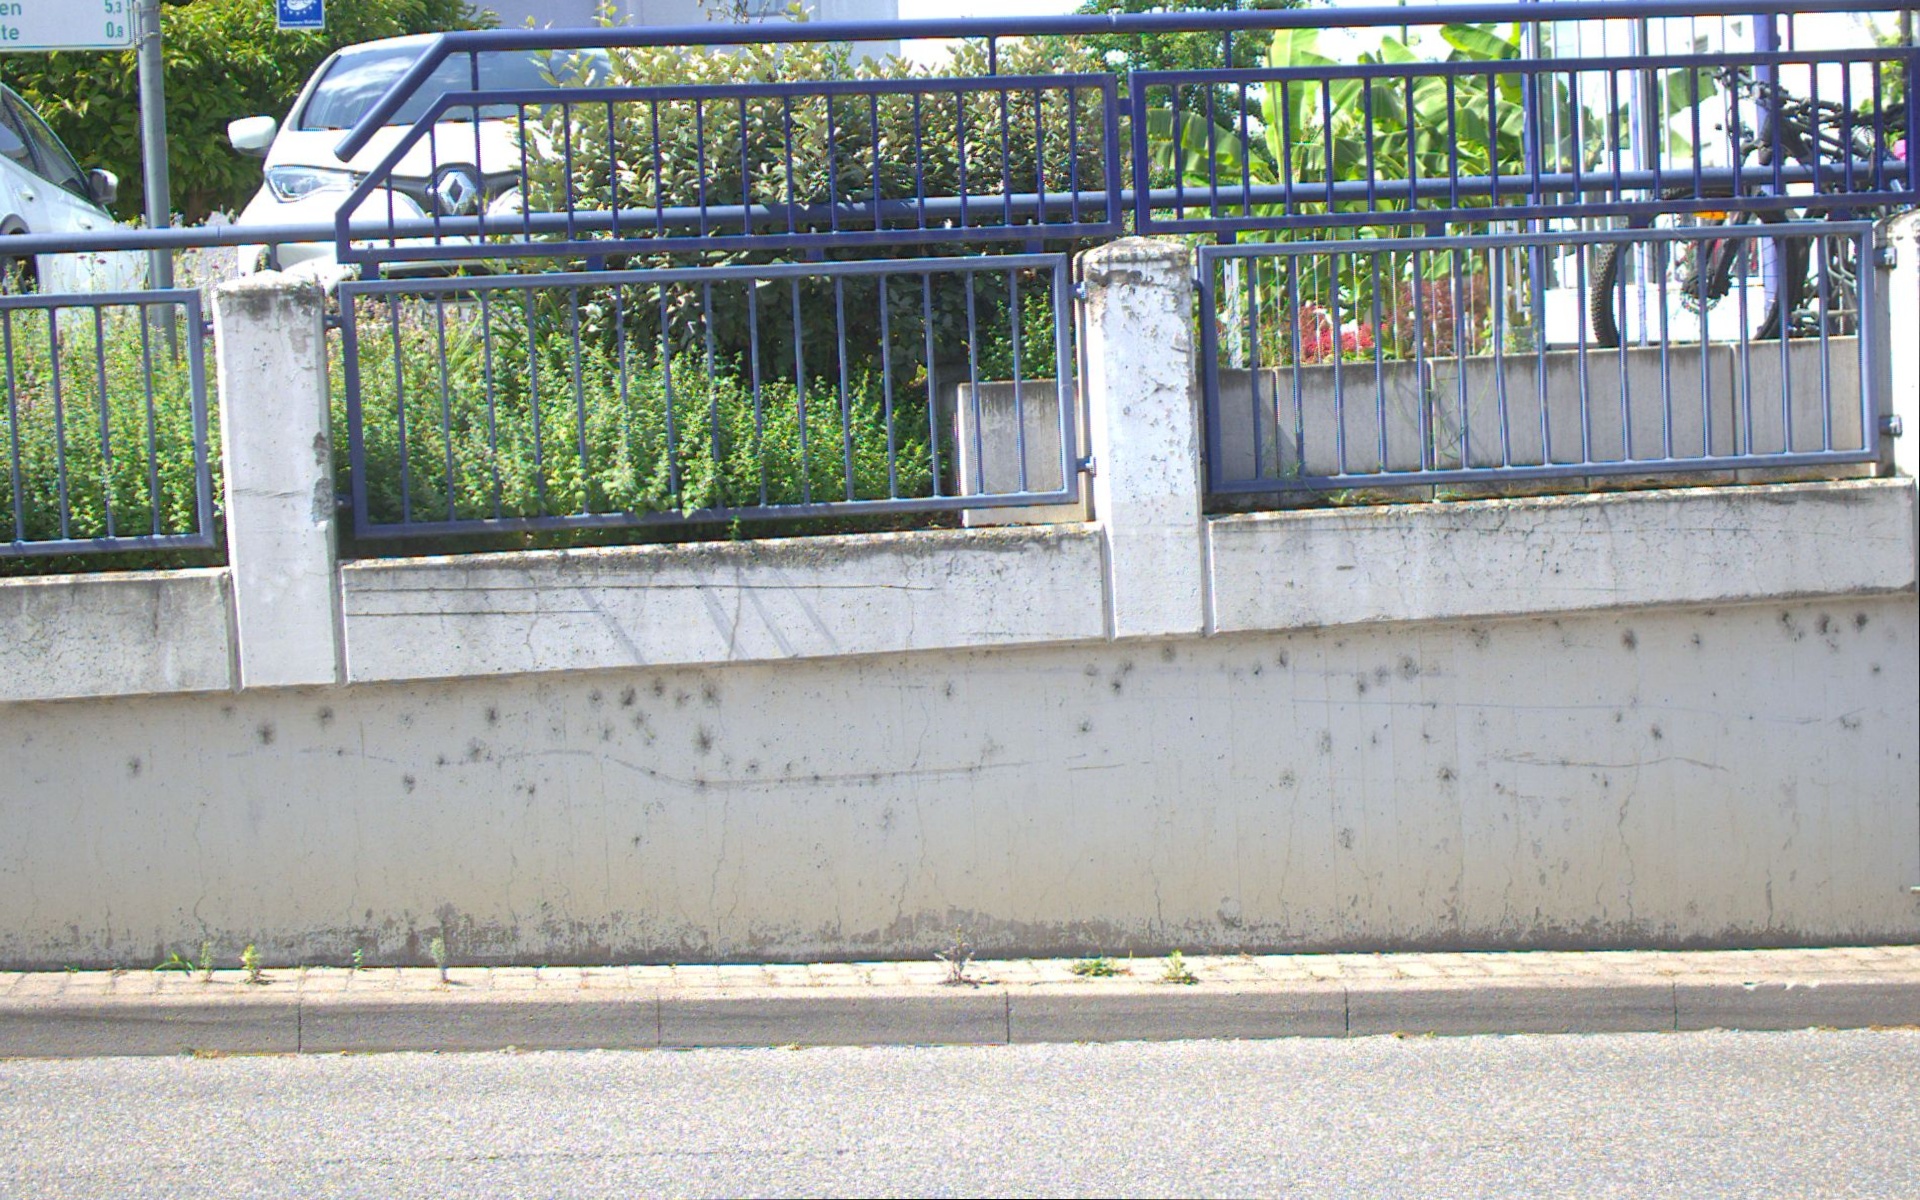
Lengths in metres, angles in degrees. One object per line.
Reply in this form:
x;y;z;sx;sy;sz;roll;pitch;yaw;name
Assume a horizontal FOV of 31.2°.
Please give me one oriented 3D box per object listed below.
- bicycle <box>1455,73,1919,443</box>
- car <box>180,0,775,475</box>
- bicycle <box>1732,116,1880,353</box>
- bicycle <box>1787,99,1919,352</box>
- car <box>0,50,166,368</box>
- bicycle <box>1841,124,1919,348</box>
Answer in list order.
2.671;-1.105;11.024;2.114;1.122;0.333;-2;4;-9;bicycle
-1.768;-1.429;13.898;1.993;1.791;4.197;1;2;-3;car
3.825;-1.630;15.624;0.455;0.991;1.888;-1;4;8;bicycle
3.941;-1.519;13.980;0.332;0.991;2.077;-2;4;-9;bicycle
-4.415;-1.516;13.748;1.825;1.016;3.460;1;2;-3;car
4.496;-1.669;15.844;0.373;0.991;1.966;-2;4;1;bicycle
